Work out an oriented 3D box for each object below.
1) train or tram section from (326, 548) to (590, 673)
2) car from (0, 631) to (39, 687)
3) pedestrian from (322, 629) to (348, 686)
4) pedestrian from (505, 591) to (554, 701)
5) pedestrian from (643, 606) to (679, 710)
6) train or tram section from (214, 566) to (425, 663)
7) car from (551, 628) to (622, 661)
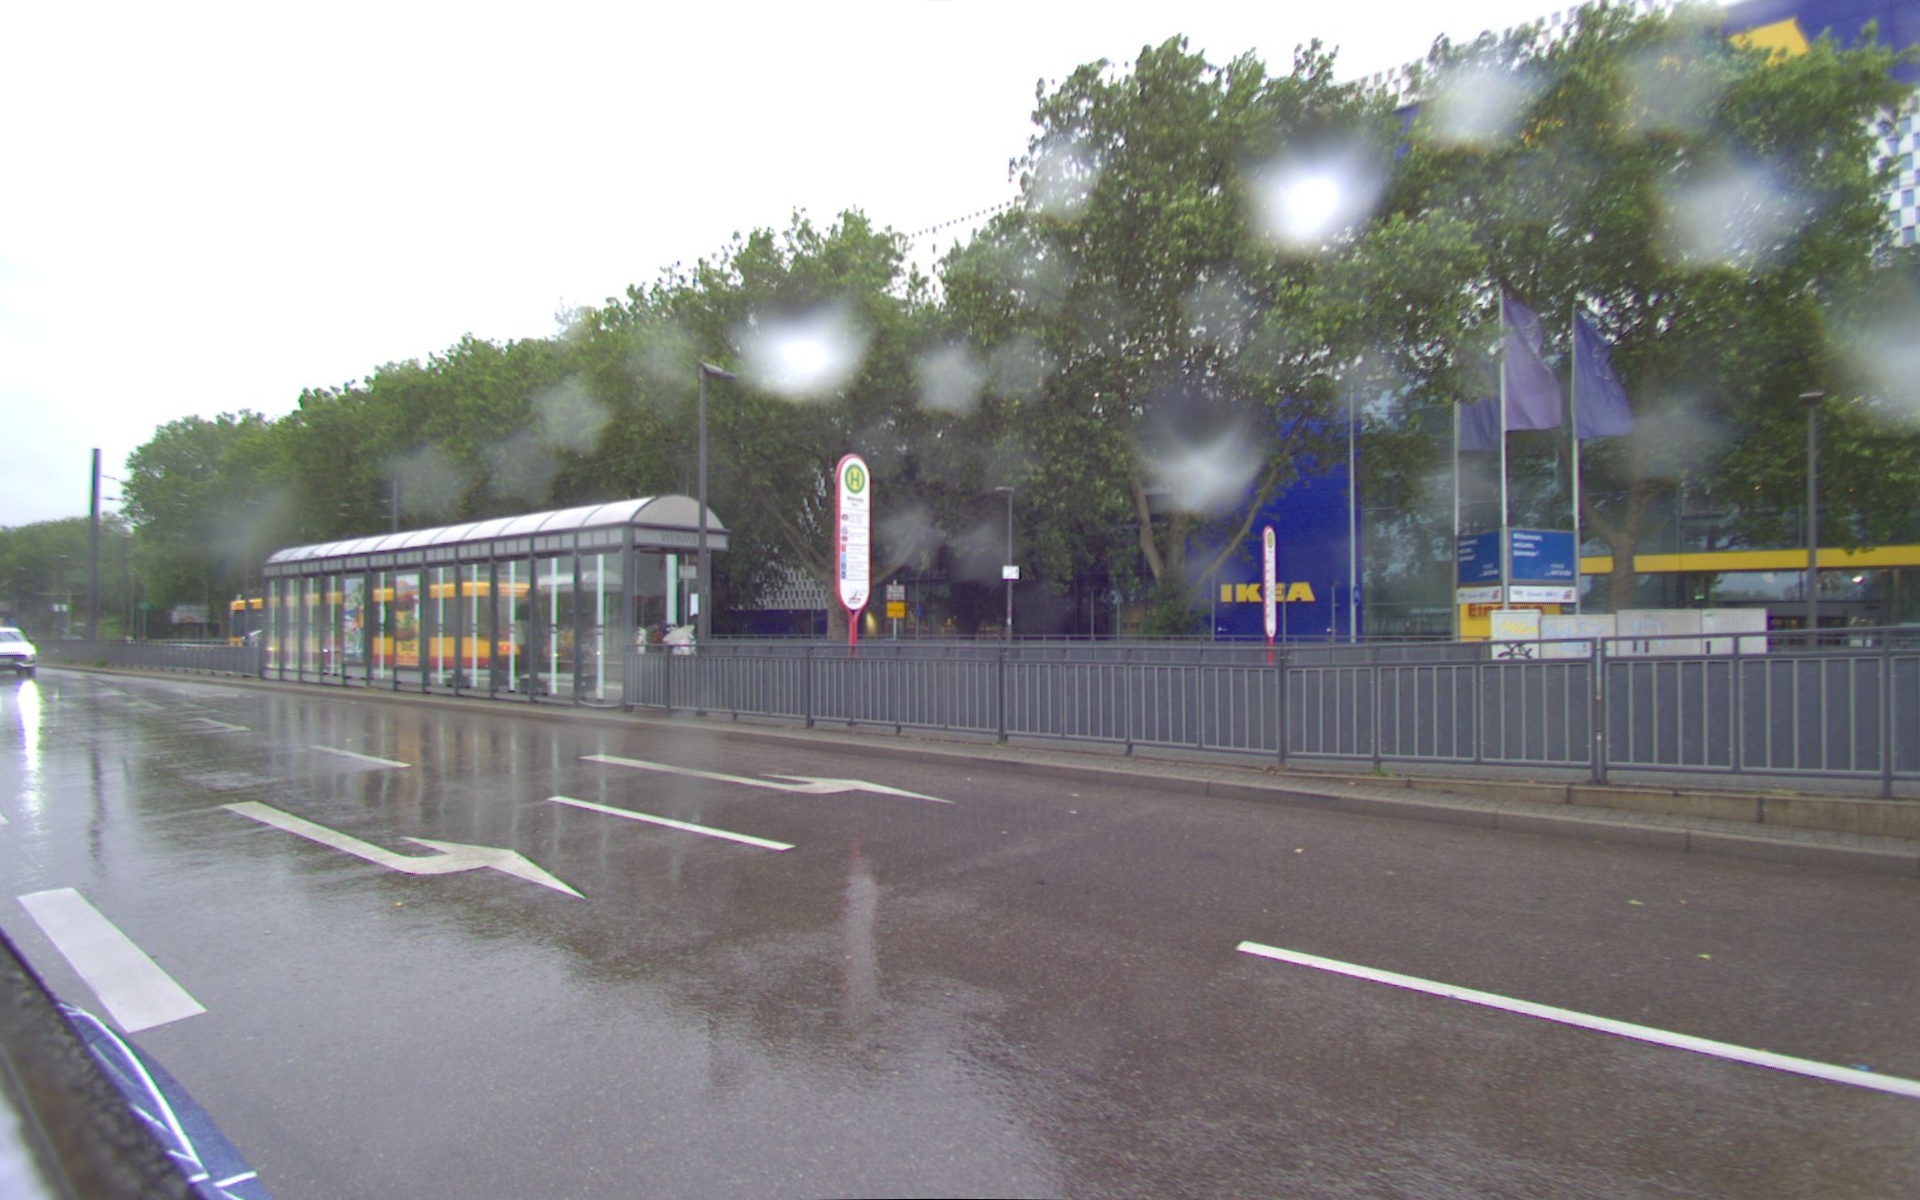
[{"bbox_3d":[-18.735,0.399,36.987,13.245,3.868,3.703,-1,0,40],"label":"train or tram section"},{"bbox_3d":[-33.520,2.014,35.014,4.661,1.788,1.910,-1,0,41],"label":"car"},{"bbox_3d":[-13.902,1.271,22.506,0.451,1.245,0.468,0,0,-35],"label":"pedestrian"},{"bbox_3d":[-7.630,0.801,17.942,0.646,1.885,0.774,-1,0,-33],"label":"pedestrian"},{"bbox_3d":[-4.446,0.851,15.049,0.317,1.504,0.416,-2,1,-44],"label":"pedestrian"},{"bbox_3d":[-29.736,0.671,46.363,15.560,3.827,3.703,-1,0,40],"label":"train or tram section"},{"bbox_3d":[-18.243,2.146,49.378,3.421,1.475,1.567,-1,0,35],"label":"car"}]
